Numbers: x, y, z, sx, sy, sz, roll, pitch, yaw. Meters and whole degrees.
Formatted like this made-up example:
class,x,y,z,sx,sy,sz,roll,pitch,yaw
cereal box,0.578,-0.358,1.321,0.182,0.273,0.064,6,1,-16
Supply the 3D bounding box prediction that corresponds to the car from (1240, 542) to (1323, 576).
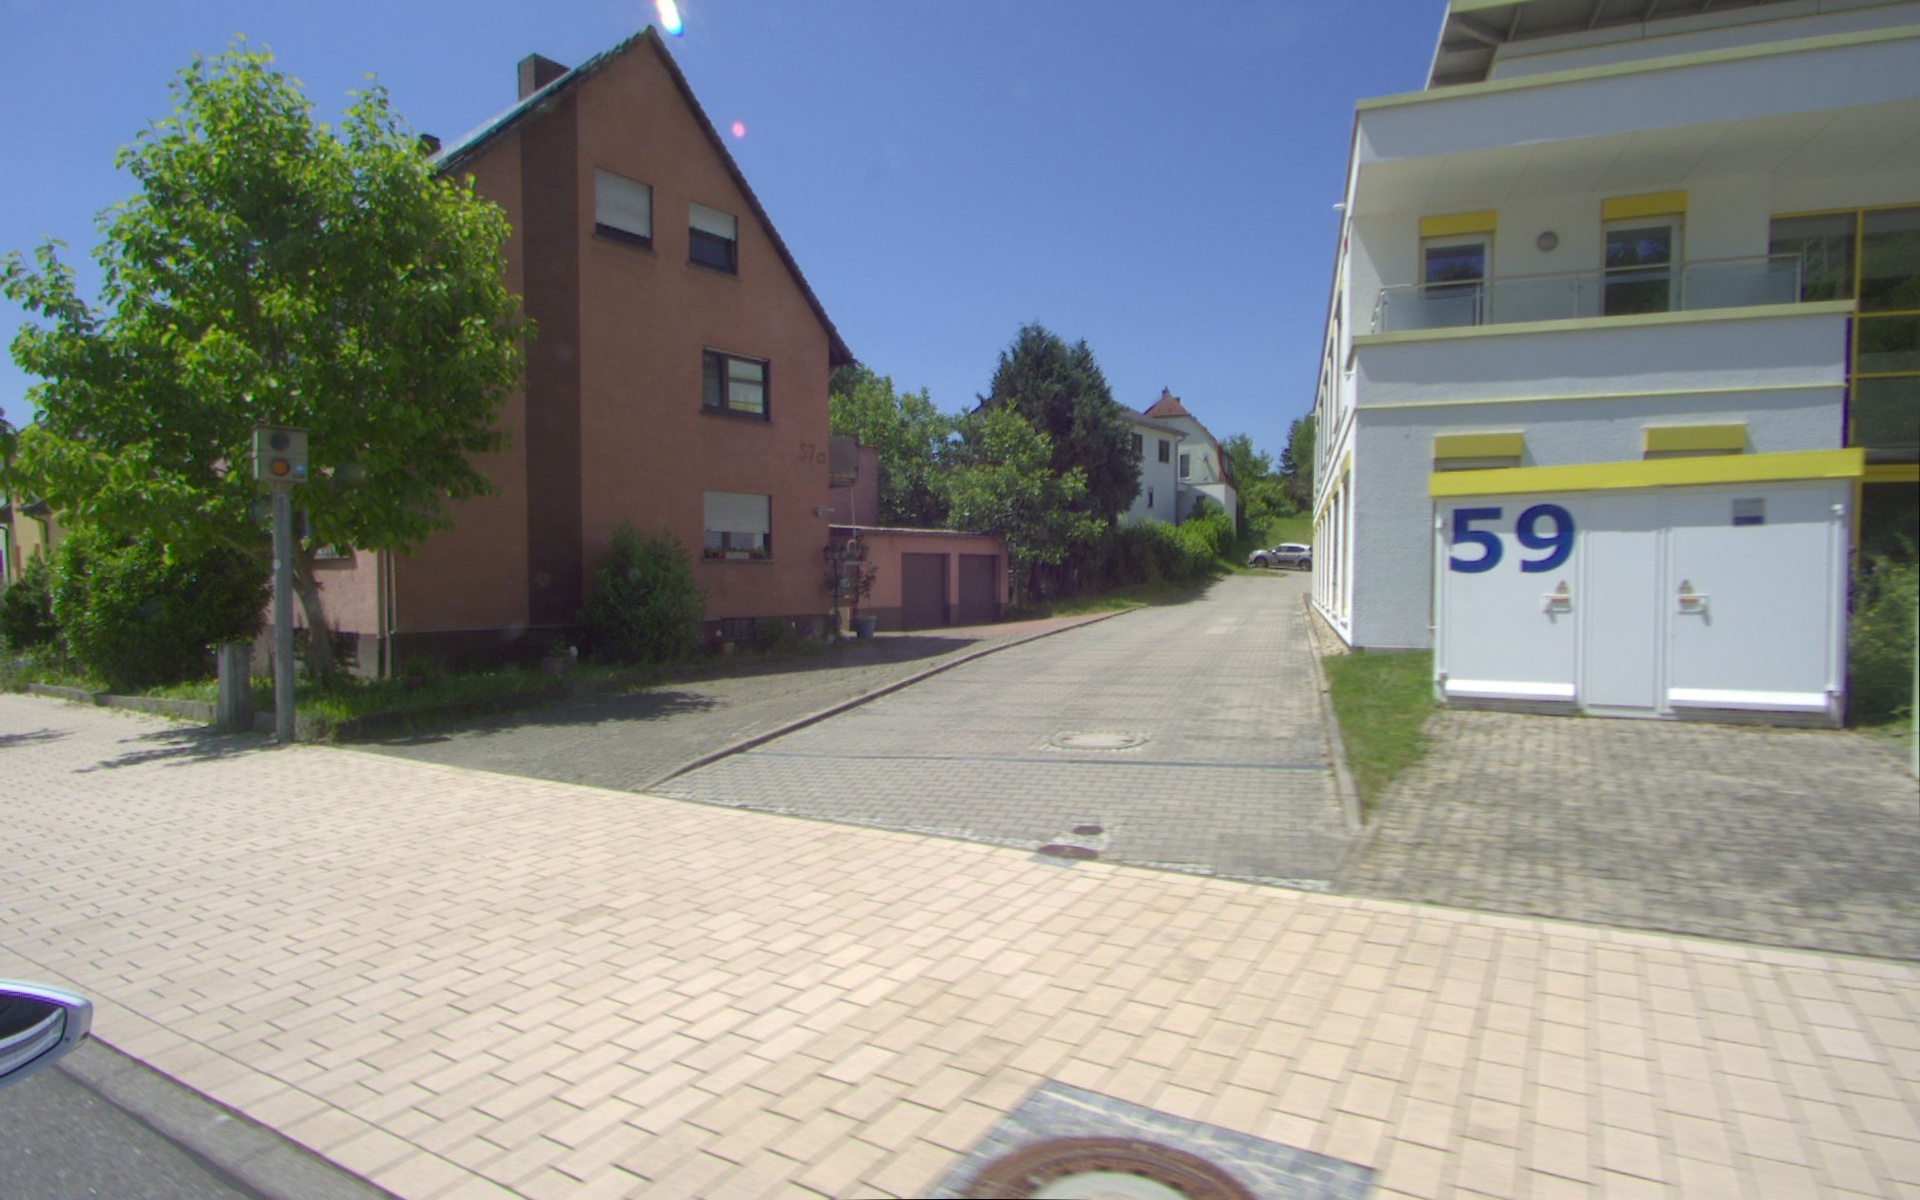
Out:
class,x,y,z,sx,sy,sz,roll,pitch,yaw
car,18.902,-2.393,58.924,4.353,1.780,1.992,-1,-1,29
